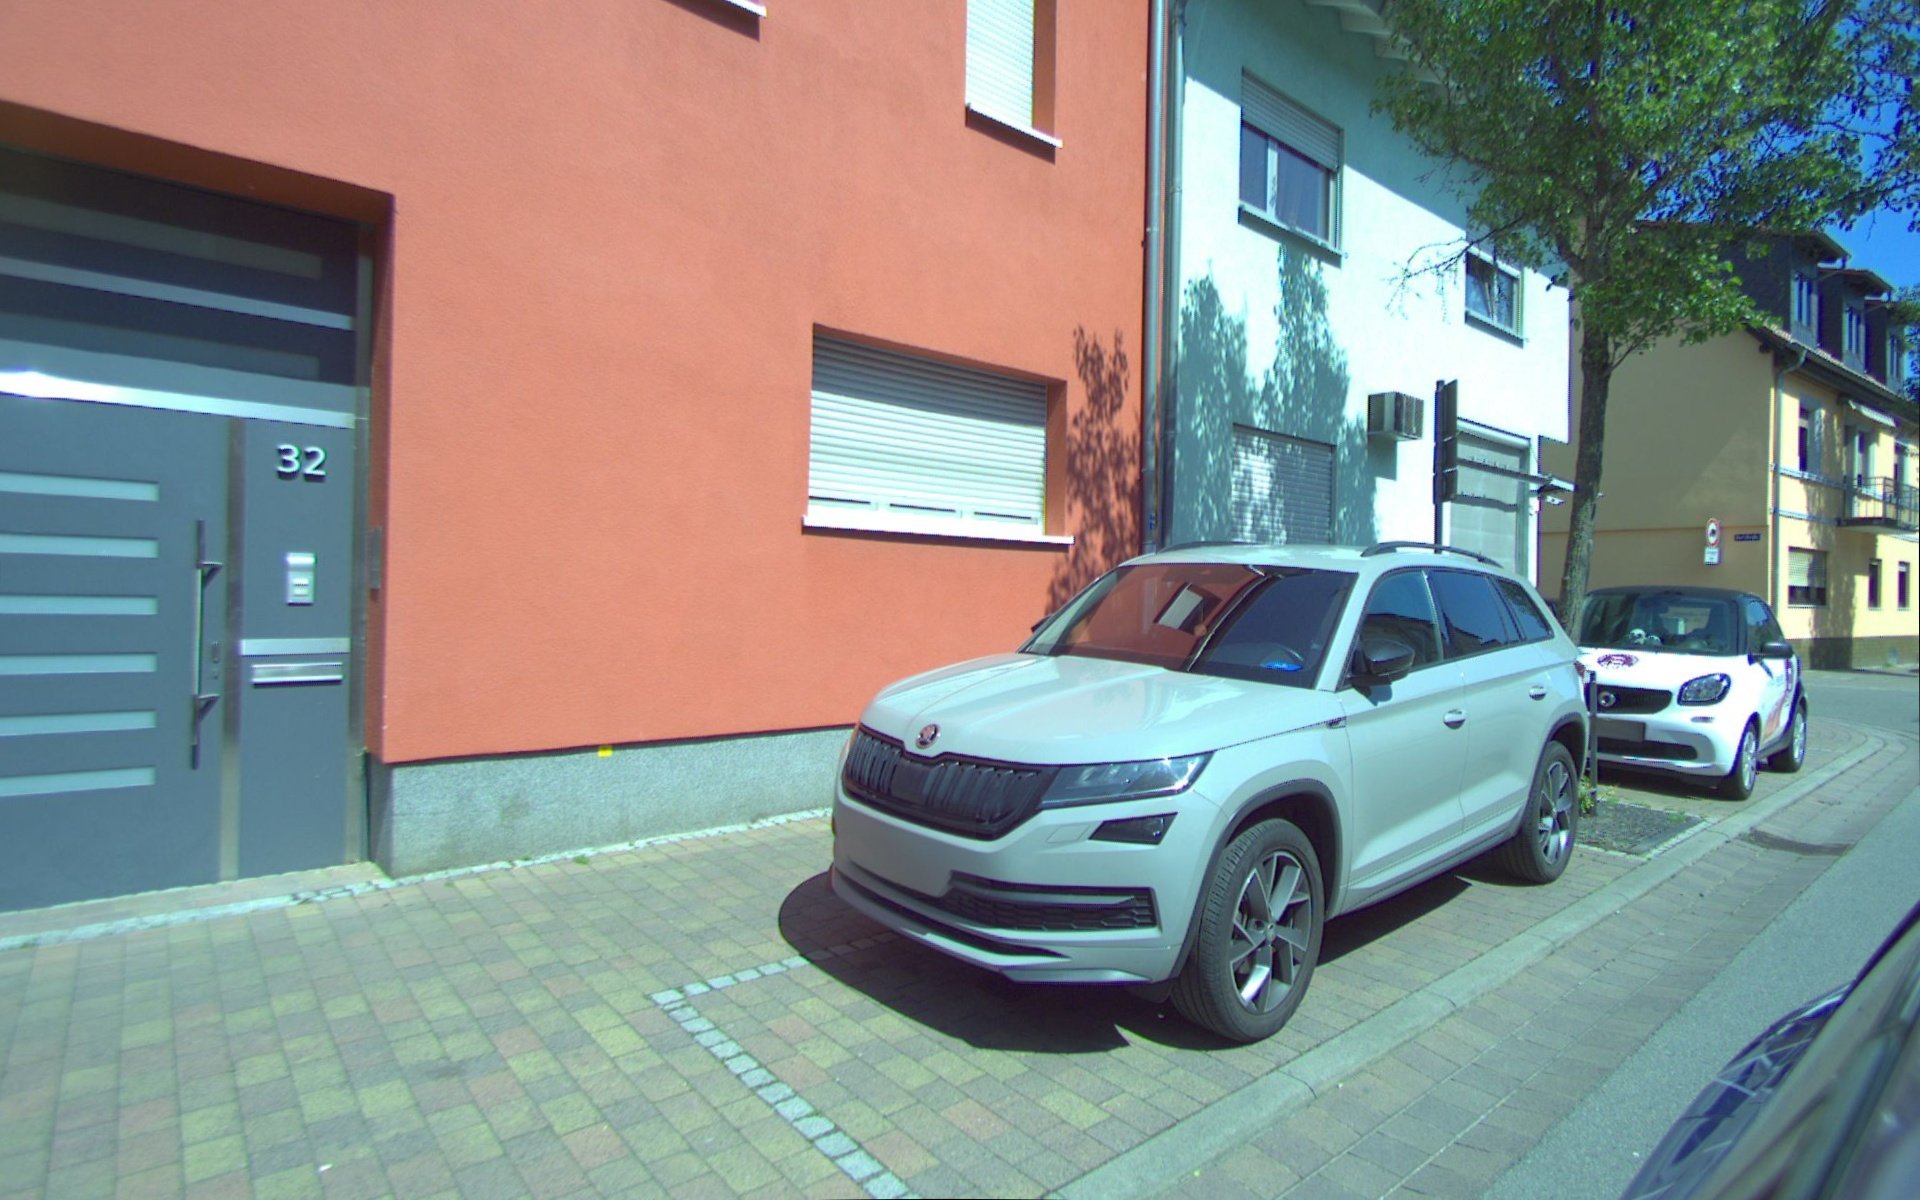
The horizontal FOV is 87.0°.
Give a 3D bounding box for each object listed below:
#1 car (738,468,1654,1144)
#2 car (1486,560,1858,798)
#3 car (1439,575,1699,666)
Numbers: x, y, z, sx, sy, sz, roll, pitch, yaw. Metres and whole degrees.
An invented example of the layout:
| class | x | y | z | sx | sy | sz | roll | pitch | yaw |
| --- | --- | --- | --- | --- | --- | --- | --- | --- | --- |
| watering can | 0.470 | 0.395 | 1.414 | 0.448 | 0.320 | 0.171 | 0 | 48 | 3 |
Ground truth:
| class | x | y | z | sx | sy | sz | roll | pitch | yaw |
| --- | --- | --- | --- | --- | --- | --- | --- | --- | --- |
| car | 1.477 | 0.461 | 4.770 | 4.581 | 1.705 | 1.870 | 0 | 3 | -42 |
| car | 6.400 | 0.540 | 8.935 | 3.927 | 1.562 | 1.715 | 1 | 4 | -41 |
| car | 12.859 | 0.389 | 21.575 | 1.965 | 1.501 | 4.297 | 3 | 2 | -41 |
